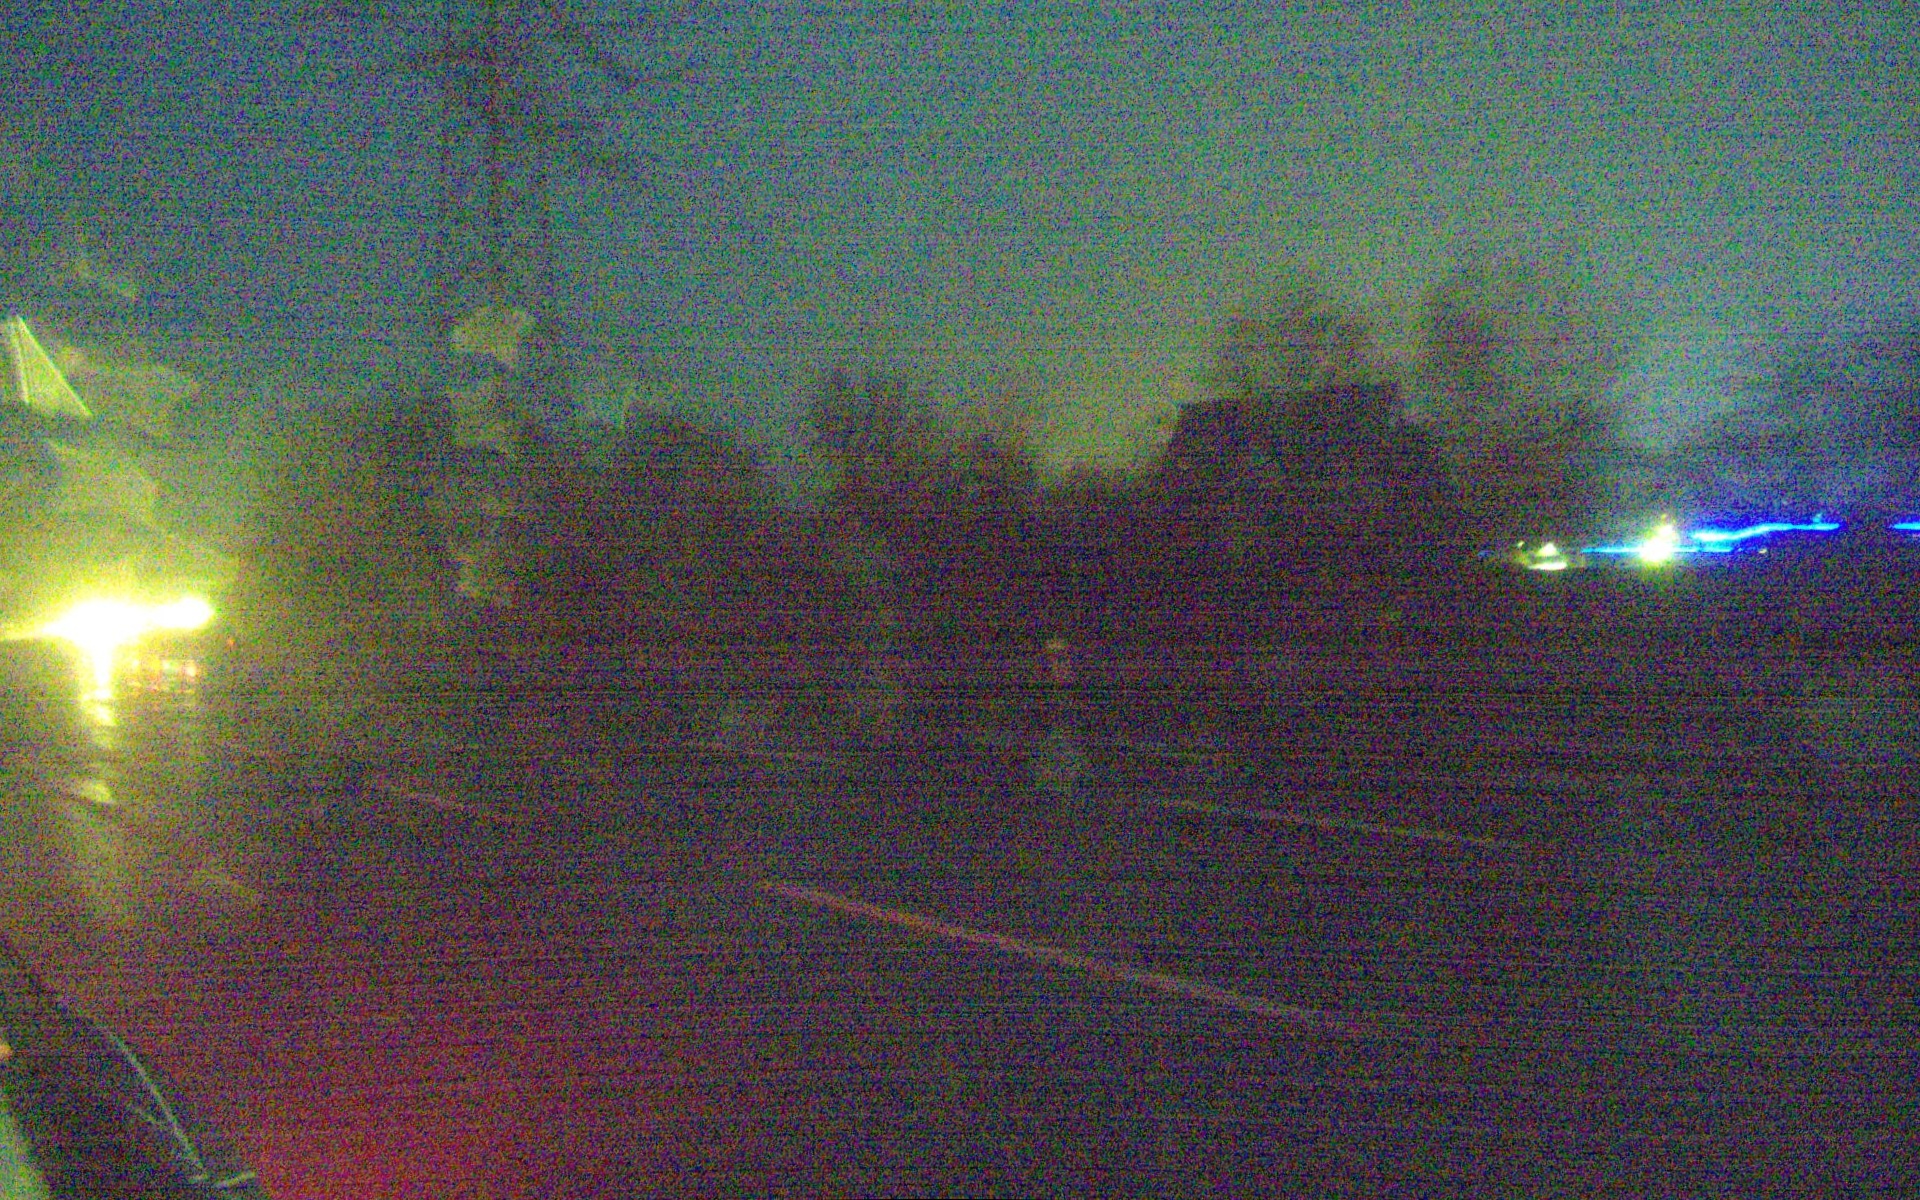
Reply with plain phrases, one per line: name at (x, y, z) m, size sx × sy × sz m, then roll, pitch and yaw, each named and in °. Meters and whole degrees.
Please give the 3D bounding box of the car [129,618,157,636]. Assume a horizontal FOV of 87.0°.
car at (-86.815, 2.862, 107.632) m, size 1.834 × 1.760 × 4.976 m, roll 0°, pitch 0°, yaw -33°

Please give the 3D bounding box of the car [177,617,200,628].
car at (-98.997, 2.863, 129.863) m, size 1.746 × 1.399 × 4.048 m, roll 0°, pitch 0°, yaw -29°
